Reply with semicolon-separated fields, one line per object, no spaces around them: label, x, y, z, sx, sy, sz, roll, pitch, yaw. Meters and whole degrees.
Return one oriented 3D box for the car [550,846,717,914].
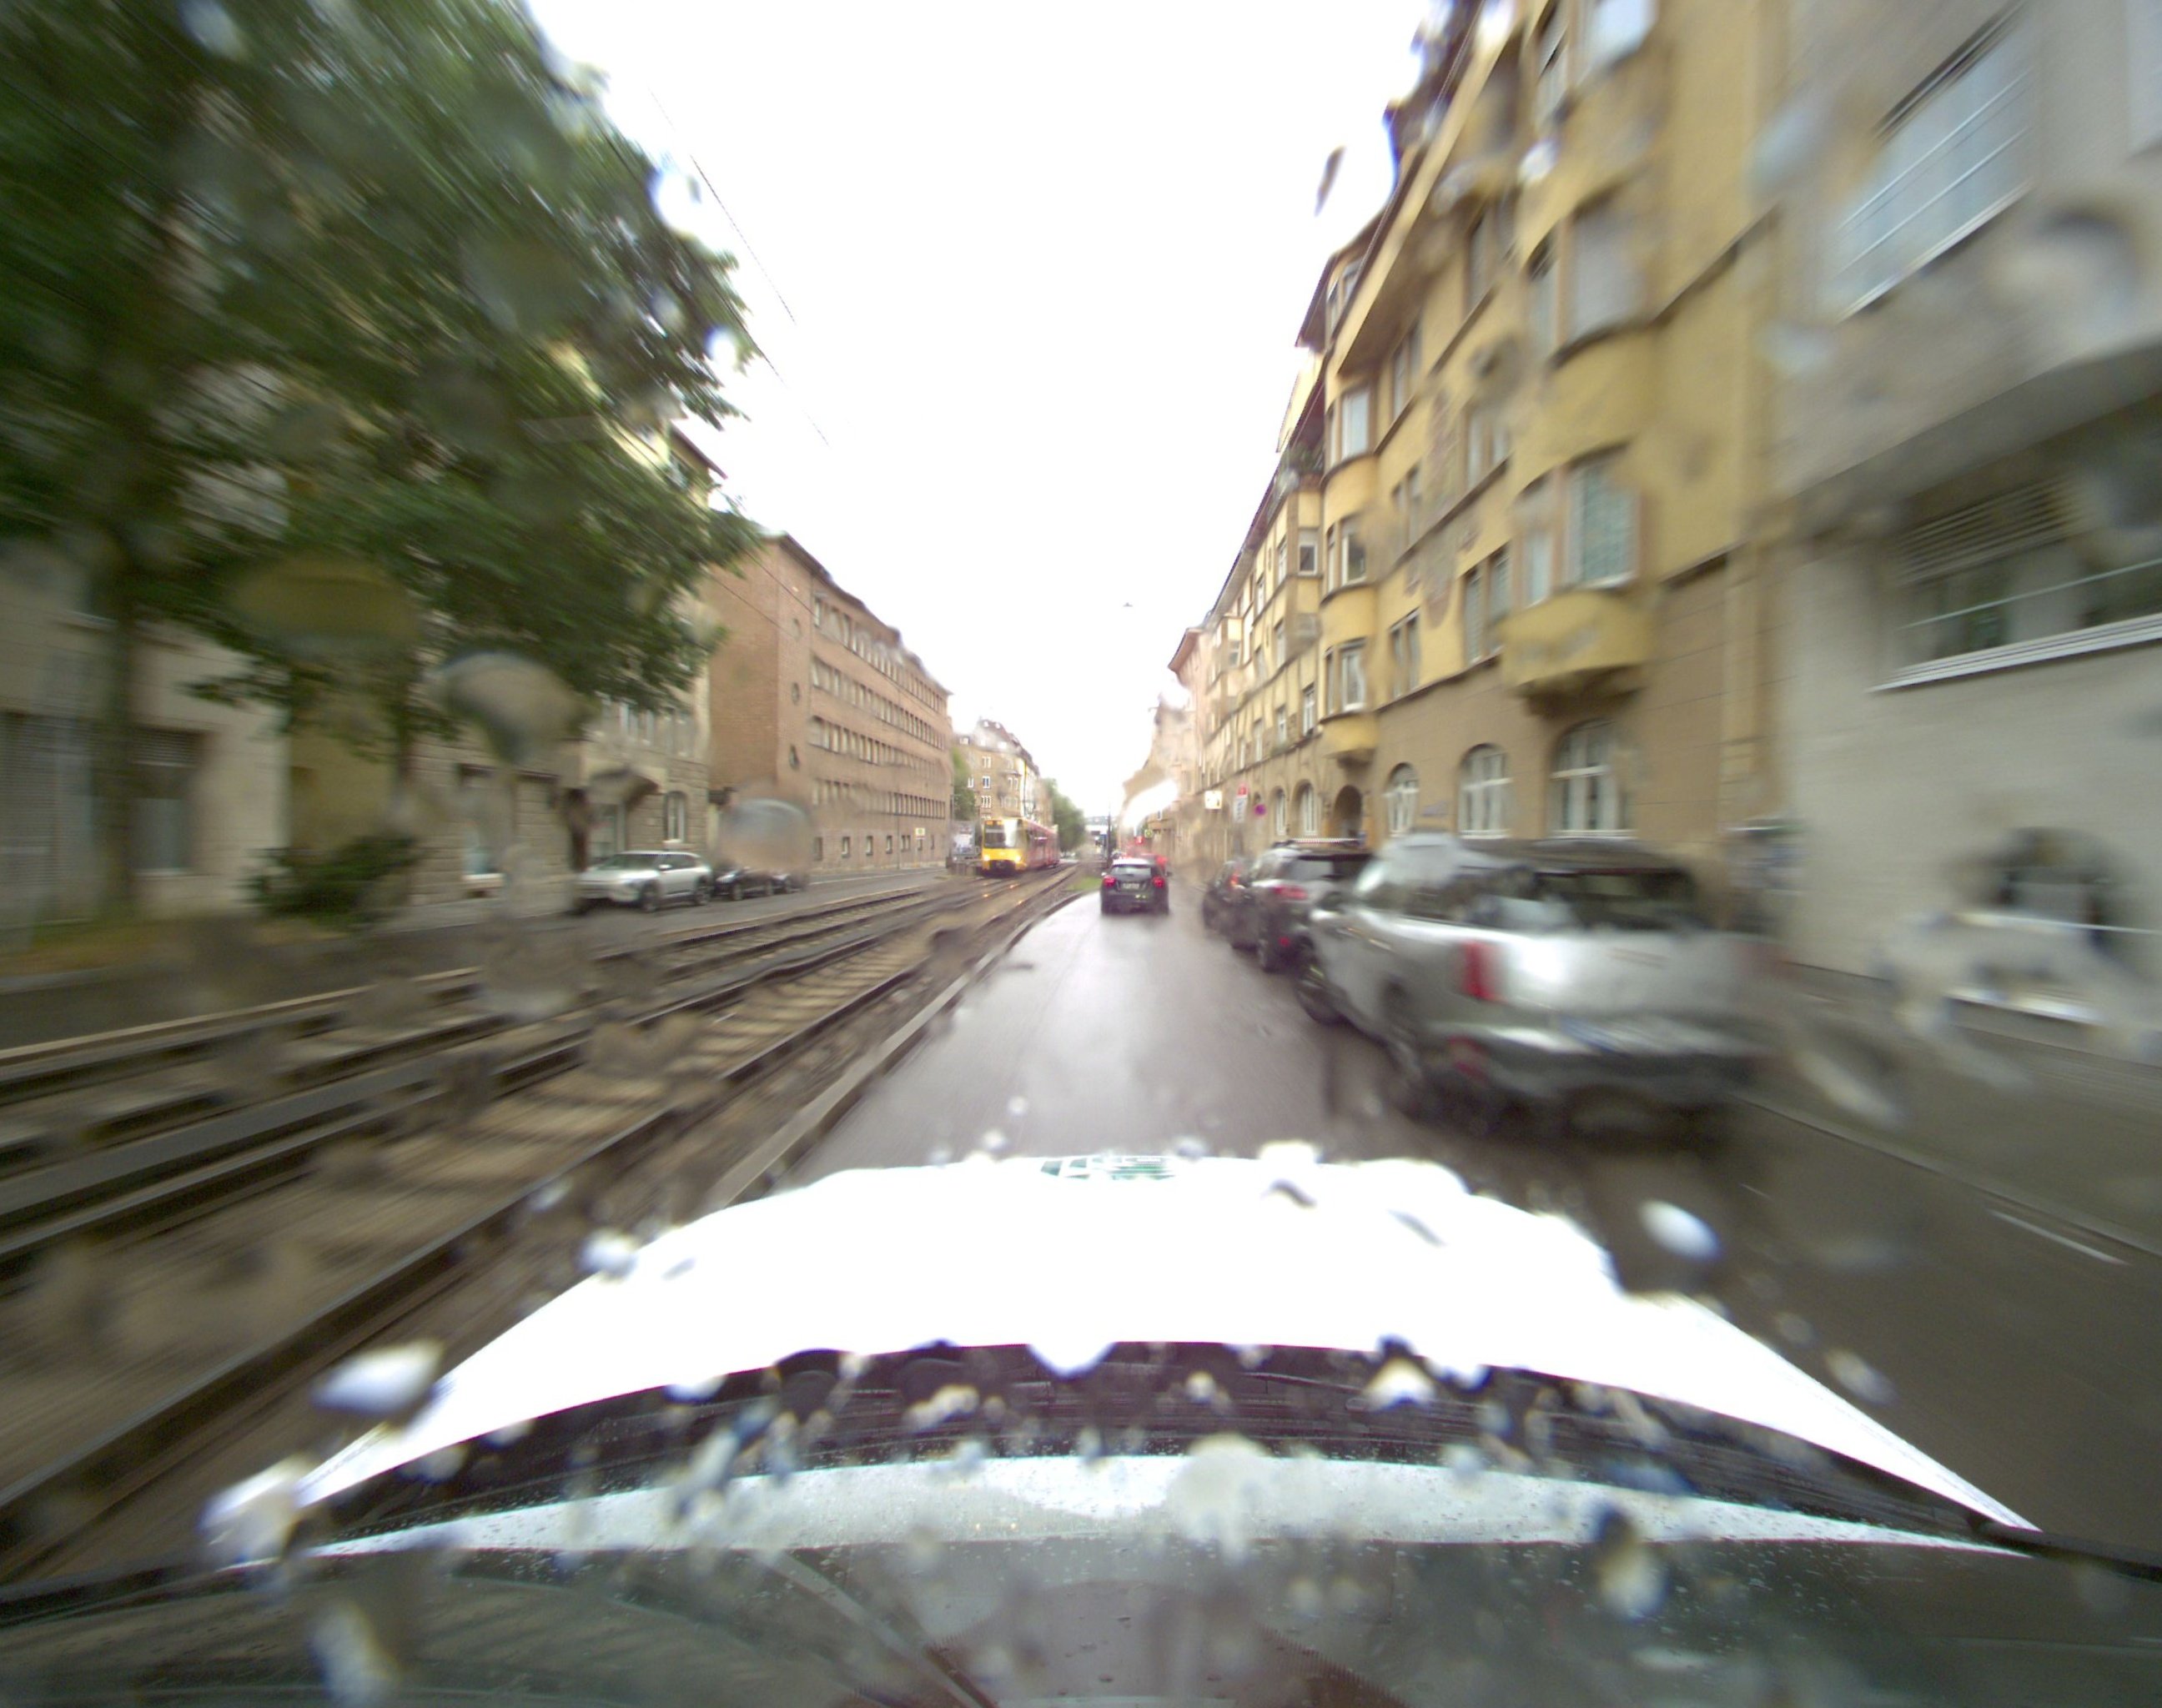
car;-11.659;0.604;21.609;1.954;1.605;4.329;1;0;1

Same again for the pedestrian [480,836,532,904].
pedestrian;-14.414;0.401;20.430;0.725;1.663;0.771;0;0;1

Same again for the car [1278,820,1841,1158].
car;2.863;0.674;6.304;1.833;1.608;4.765;-1;-1;4

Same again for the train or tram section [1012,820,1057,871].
train or tram section;-3.928;-0.695;72.659;2.735;4.061;15.665;0;0;1

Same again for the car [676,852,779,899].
car;-11.445;0.657;26.666;1.660;1.415;3.689;1;0;1

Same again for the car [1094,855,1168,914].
car;1.310;0.770;22.067;1.827;1.453;3.904;0;0;2

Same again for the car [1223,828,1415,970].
car;3.342;0.580;12.356;1.771;1.750;4.551;0;-1;3

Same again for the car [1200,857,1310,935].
car;3.517;0.813;16.971;1.586;1.440;3.309;1;-1;0

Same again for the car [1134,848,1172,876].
car;4.165;0.455;47.696;1.986;1.525;4.247;1;0;2

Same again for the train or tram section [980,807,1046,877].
train or tram section;-4.357;-0.730;56.459;2.735;4.061;17.218;0;0;1

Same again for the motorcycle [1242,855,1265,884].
motorcycle;7.428;0.656;35.131;0.554;1.160;2.271;-4;0;4

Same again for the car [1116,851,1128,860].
car;7.871;0.292;156.119;2.126;1.525;4.247;1;0;2

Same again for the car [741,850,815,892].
car;-11.265;0.610;30.429;1.567;1.466;3.045;1;0;0

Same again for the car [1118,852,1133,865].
car;5.714;0.576;105.162;1.879;1.525;4.250;1;0;4
